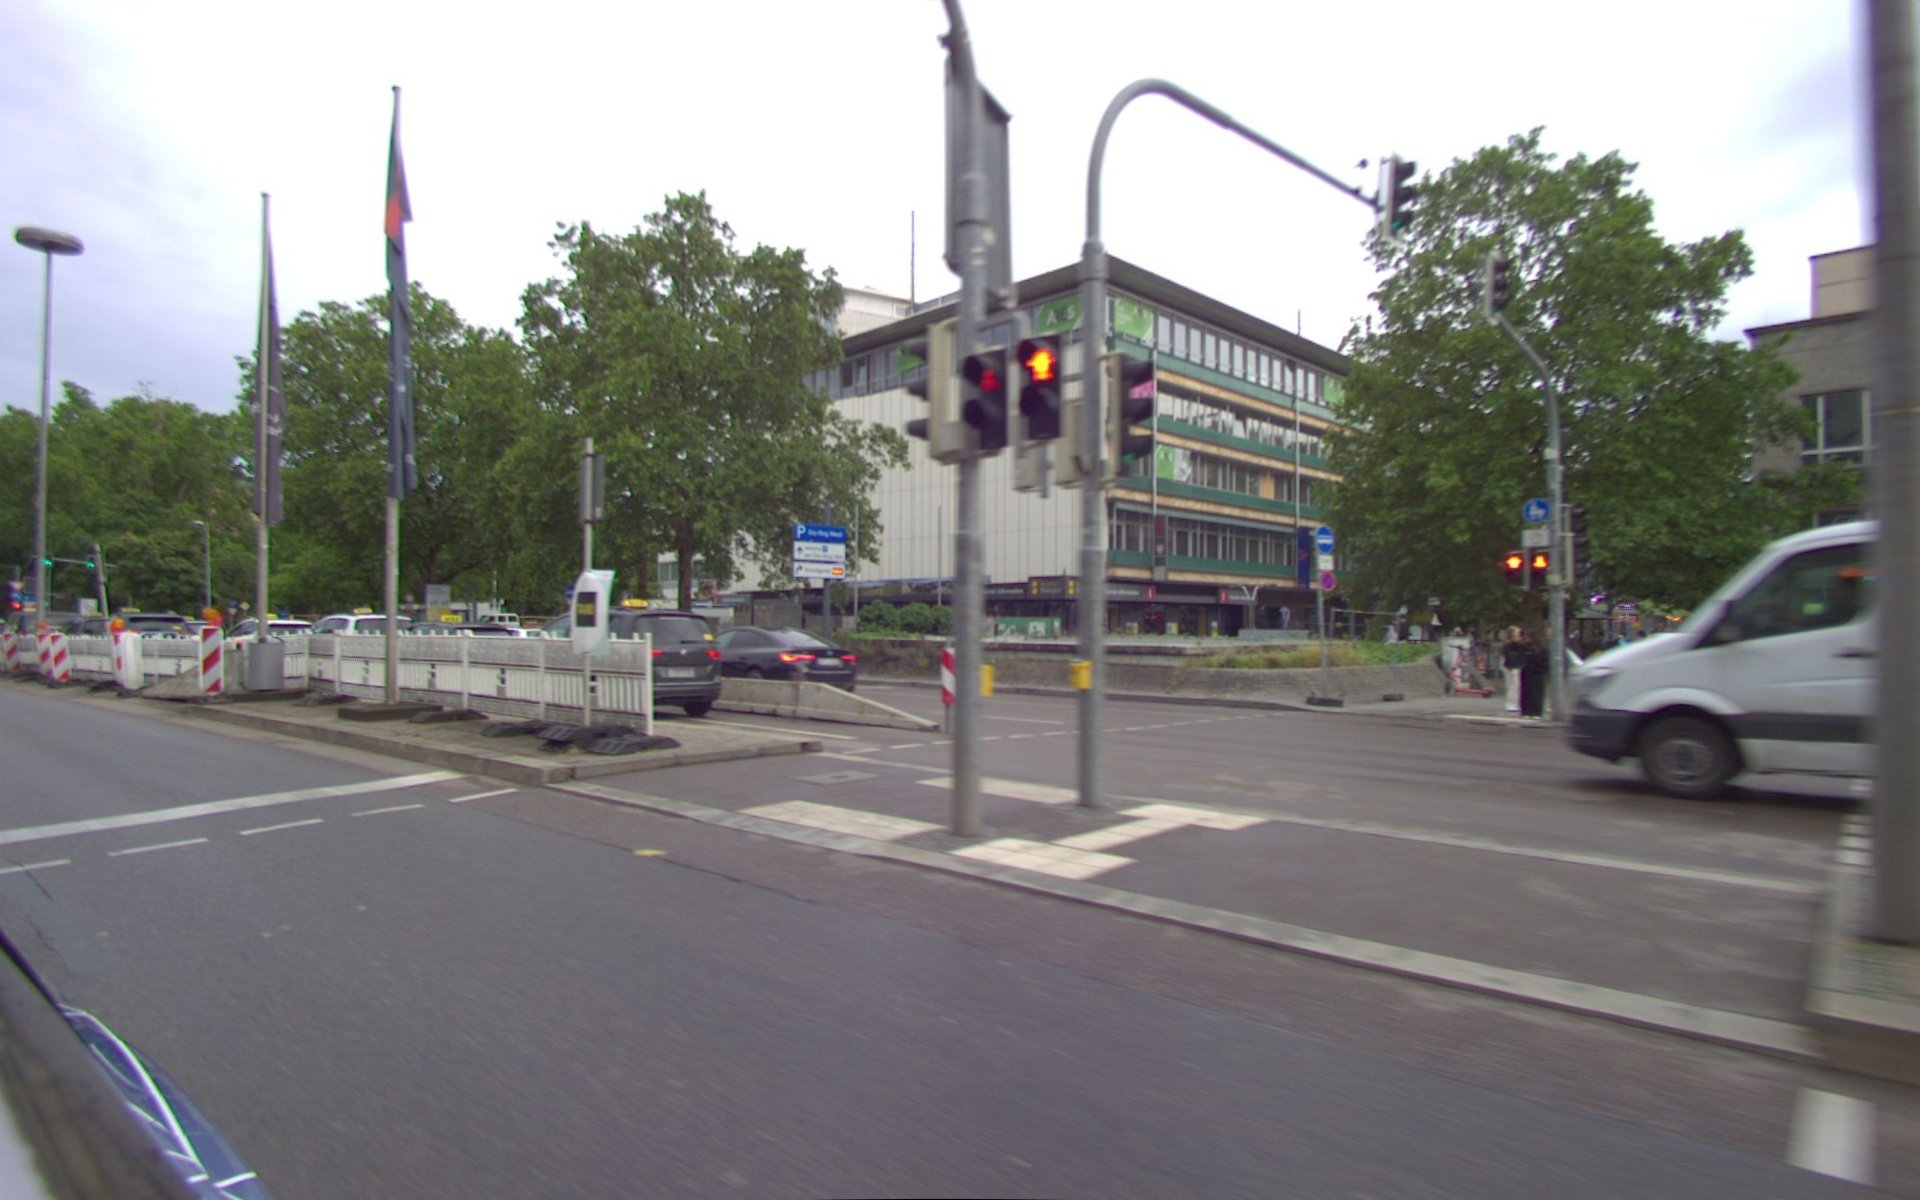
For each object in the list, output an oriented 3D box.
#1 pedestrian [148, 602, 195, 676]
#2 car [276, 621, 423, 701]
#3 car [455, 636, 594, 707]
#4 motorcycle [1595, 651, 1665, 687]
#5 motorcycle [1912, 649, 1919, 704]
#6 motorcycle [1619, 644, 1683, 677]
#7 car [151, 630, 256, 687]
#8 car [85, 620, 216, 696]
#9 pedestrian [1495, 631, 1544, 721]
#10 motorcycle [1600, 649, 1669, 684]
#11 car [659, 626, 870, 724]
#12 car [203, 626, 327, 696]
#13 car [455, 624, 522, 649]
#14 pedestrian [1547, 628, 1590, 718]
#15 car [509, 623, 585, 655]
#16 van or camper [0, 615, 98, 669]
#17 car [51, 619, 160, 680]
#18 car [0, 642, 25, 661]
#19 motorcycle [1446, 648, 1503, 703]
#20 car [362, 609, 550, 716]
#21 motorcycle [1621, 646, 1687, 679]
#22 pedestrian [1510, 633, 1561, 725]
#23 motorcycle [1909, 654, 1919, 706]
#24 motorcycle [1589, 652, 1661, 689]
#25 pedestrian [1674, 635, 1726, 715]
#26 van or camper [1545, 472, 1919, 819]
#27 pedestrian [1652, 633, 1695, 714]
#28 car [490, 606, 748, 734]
[{"bbox_3d":[-22.155,1.089,28.431,0.820,2.029,0.867,-2,-2,38],"label":"pedestrian"},{"bbox_3d":[-14.515,1.419,23.981,4.482,1.735,1.764,-3,-3,42],"label":"car"},{"bbox_3d":[-11.335,1.808,26.246,3.802,1.658,1.815,-3,-1,41],"label":"car"},{"bbox_3d":[20.704,2.111,31.293,1.716,1.055,0.525,-2,-2,42],"label":"motorcycle"},{"bbox_3d":[20.644,1.598,20.703,0.573,1.142,1.628,-2,-1,-13],"label":"motorcycle"},{"bbox_3d":[23.303,2.030,34.167,1.716,1.055,0.525,-2,-2,42],"label":"motorcycle"},{"bbox_3d":[-25.135,1.916,33.563,4.419,1.715,1.871,-3,-1,41],"label":"car"},{"bbox_3d":[-21.538,1.518,26.852,4.809,1.831,1.972,-3,-3,42],"label":"car"},{"bbox_3d":[11.131,1.493,20.129,0.658,1.698,0.592,-2,2,42],"label":"pedestrian"},{"bbox_3d":[21.125,2.061,31.701,1.716,1.055,0.525,-2,-2,42],"label":"motorcycle"},{"bbox_3d":[-3.724,1.373,18.939,4.043,1.623,1.794,-3,-5,42],"label":"car"},{"bbox_3d":[-20.271,1.748,29.444,4.564,1.866,1.894,-2,-3,41],"label":"car"},{"bbox_3d":[-39.822,3.061,85.601,4.759,2.029,2.038,0,-2,-41],"label":"car"},{"bbox_3d":[11.796,1.415,19.624,0.559,1.699,0.741,-2,-5,42],"label":"pedestrian"},{"bbox_3d":[-23.944,2.247,58.761,3.685,1.554,1.856,-3,1,-9],"label":"car"},{"bbox_3d":[-33.335,1.553,36.747,5.383,1.833,1.927,-2,-4,37],"label":"van or camper"},{"bbox_3d":[-27.028,1.551,31.957,4.809,1.784,1.972,-3,-3,42],"label":"car"},{"bbox_3d":[-79.839,4.373,85.094,3.174,1.554,1.659,-4,-4,45],"label":"car"},{"bbox_3d":[12.506,1.823,24.617,1.161,1.288,0.412,-2,-2,42],"label":"motorcycle"},{"bbox_3d":[-10.300,1.218,20.537,4.522,1.912,1.883,-3,-1,42],"label":"car"},{"bbox_3d":[22.828,2.037,33.313,1.716,1.055,0.525,-2,-2,42],"label":"motorcycle"},{"bbox_3d":[10.268,1.396,18.054,0.749,1.584,0.554,-1,-4,31],"label":"pedestrian"},{"bbox_3d":[20.068,1.632,20.155,0.573,1.051,1.628,-2,-1,-13],"label":"motorcycle"},{"bbox_3d":[19.680,2.074,29.978,1.716,1.055,0.525,-2,-2,42],"label":"motorcycle"},{"bbox_3d":[15.049,1.518,20.595,0.748,1.584,0.471,-1,-4,26],"label":"pedestrian"},{"bbox_3d":[7.871,0.375,7.928,5.370,2.533,1.972,-2,-5,43],"label":"van or camper"},{"bbox_3d":[14.968,1.530,21.236,0.607,1.654,0.525,-1,-4,25],"label":"pedestrian"},{"bbox_3d":[-5.481,1.030,15.967,4.499,1.712,1.883,-3,-1,42],"label":"car"}]
